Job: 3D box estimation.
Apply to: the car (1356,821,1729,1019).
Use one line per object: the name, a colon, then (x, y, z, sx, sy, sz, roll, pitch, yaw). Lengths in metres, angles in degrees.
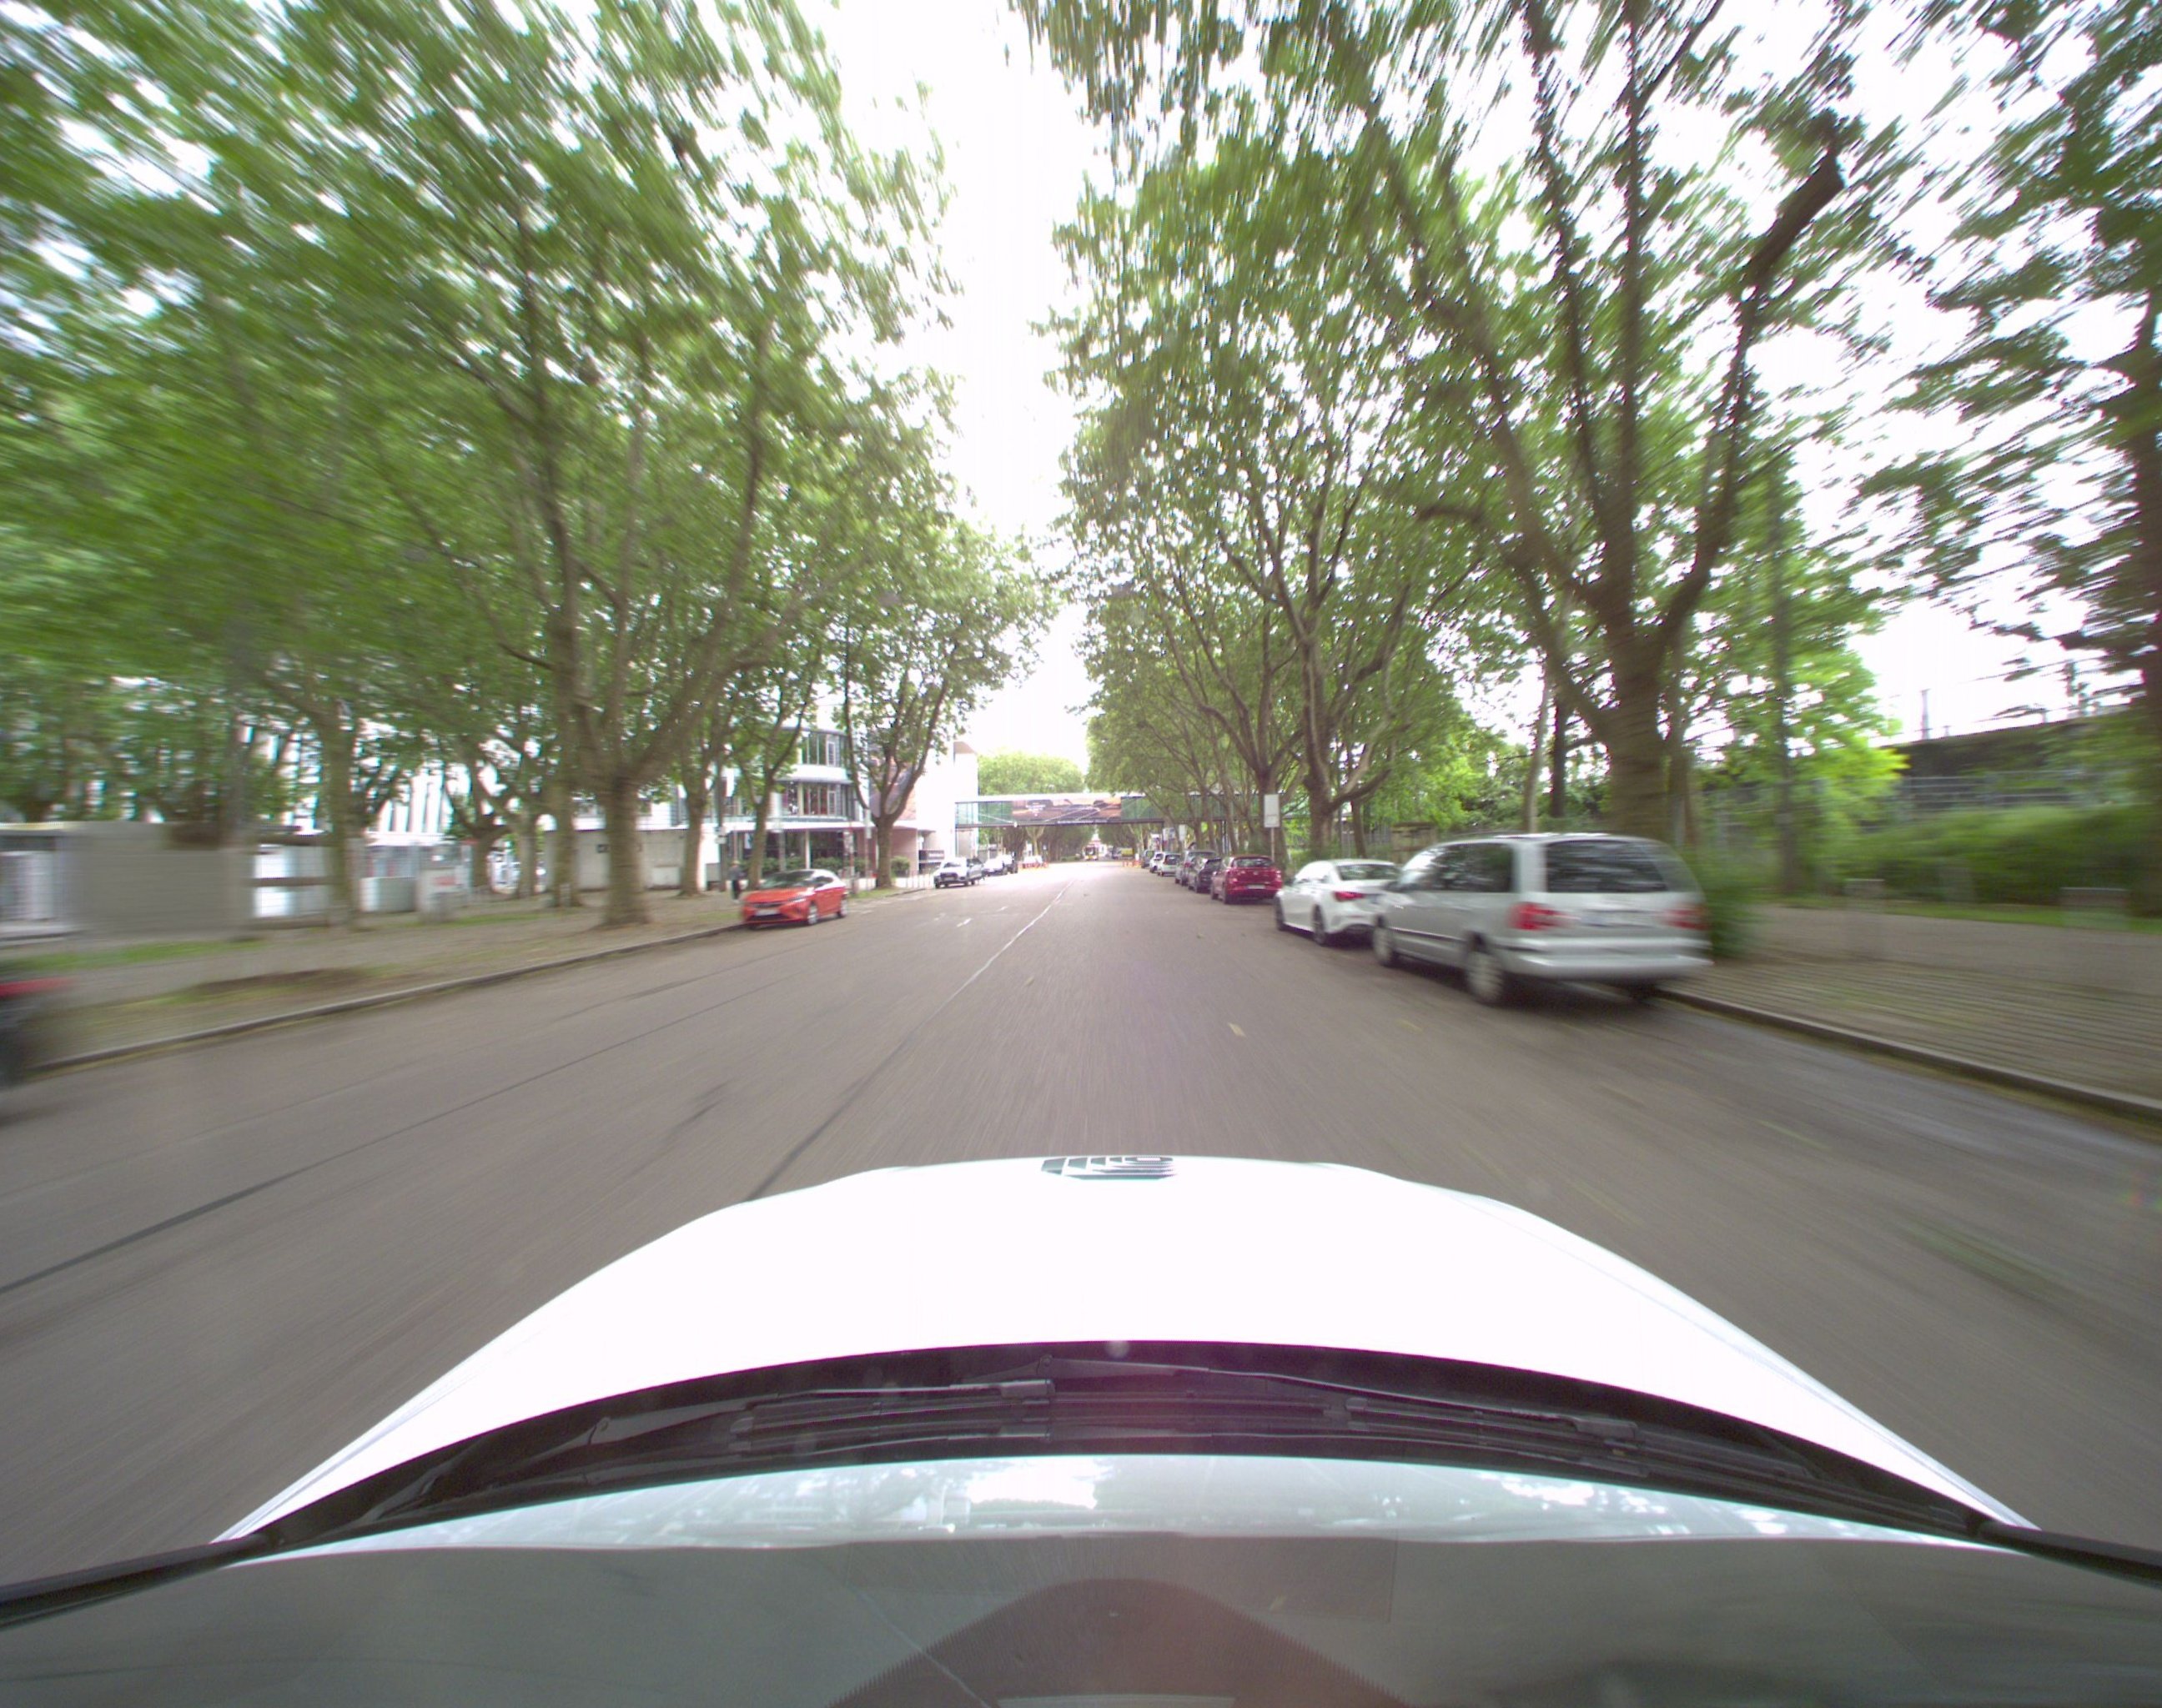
car: (4.909, 0.592, 9.568, 1.896, 1.738, 4.508, -1, 0, 1)

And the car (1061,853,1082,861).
car: (-2.079, 0.670, 179.032, 4.682, 1.584, 1.865, -1, 0, 2)

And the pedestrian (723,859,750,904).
pedestrian: (-12.930, 1.026, 30.574, 0.588, 1.620, 0.794, -1, 0, 10)

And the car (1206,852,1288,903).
car: (5.206, 0.690, 26.071, 1.850, 1.481, 4.178, -1, 0, 1)

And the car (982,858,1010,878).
car: (-7.167, 1.160, 68.807, 1.698, 1.419, 4.326, -4, 0, 2)

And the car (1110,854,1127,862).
car: (9.083, 1.019, 196.342, 3.973, 1.794, 1.543, -1, 0, 0)

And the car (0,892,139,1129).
car: (-7.870, 1.054, 3.598, 1.819, 1.465, 4.632, -3, 0, 4)

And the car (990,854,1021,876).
car: (-6.901, 0.941, 74.906, 2.027, 1.789, 4.910, -4, 0, 2)

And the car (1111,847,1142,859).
car: (10.533, -0.181, 188.872, 6.803, 2.513, 2.316, -2, 0, -1)

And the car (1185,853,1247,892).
car: (5.332, 0.699, 32.745, 1.870, 1.427, 4.482, -1, 0, 2)

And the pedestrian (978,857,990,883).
pedestrian: (-5.601, 0.923, 47.003, 0.581, 1.466, 0.568, -1, 0, 5)

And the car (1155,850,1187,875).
car: (5.946, 0.540, 54.127, 1.801, 1.526, 4.097, -1, 0, 2)

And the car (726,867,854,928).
car: (-7.567, 1.077, 21.601, 1.801, 1.354, 4.002, -2, 0, 2)

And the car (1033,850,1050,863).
car: (-5.443, 0.380, 112.614, 1.986, 1.584, 4.115, -4, 0, 2)

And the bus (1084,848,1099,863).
bus: (2.392, 0.347, 180.186, 3.028, 3.160, 12.677, -3, 0, 1)

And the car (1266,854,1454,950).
car: (4.812, 0.733, 14.816, 1.870, 1.427, 4.586, -1, 0, 1)

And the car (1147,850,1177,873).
car: (6.168, 0.568, 62.552, 1.907, 1.618, 4.751, -1, 0, 2)

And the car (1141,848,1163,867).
car: (6.837, 0.325, 78.610, 1.840, 1.783, 5.213, 0, 0, 2)

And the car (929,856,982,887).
car: (-6.992, 0.945, 45.858, 2.066, 1.563, 4.758, -2, 0, 2)

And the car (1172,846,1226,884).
car: (5.654, 0.496, 39.643, 1.975, 1.680, 4.731, -1, 0, 1)
